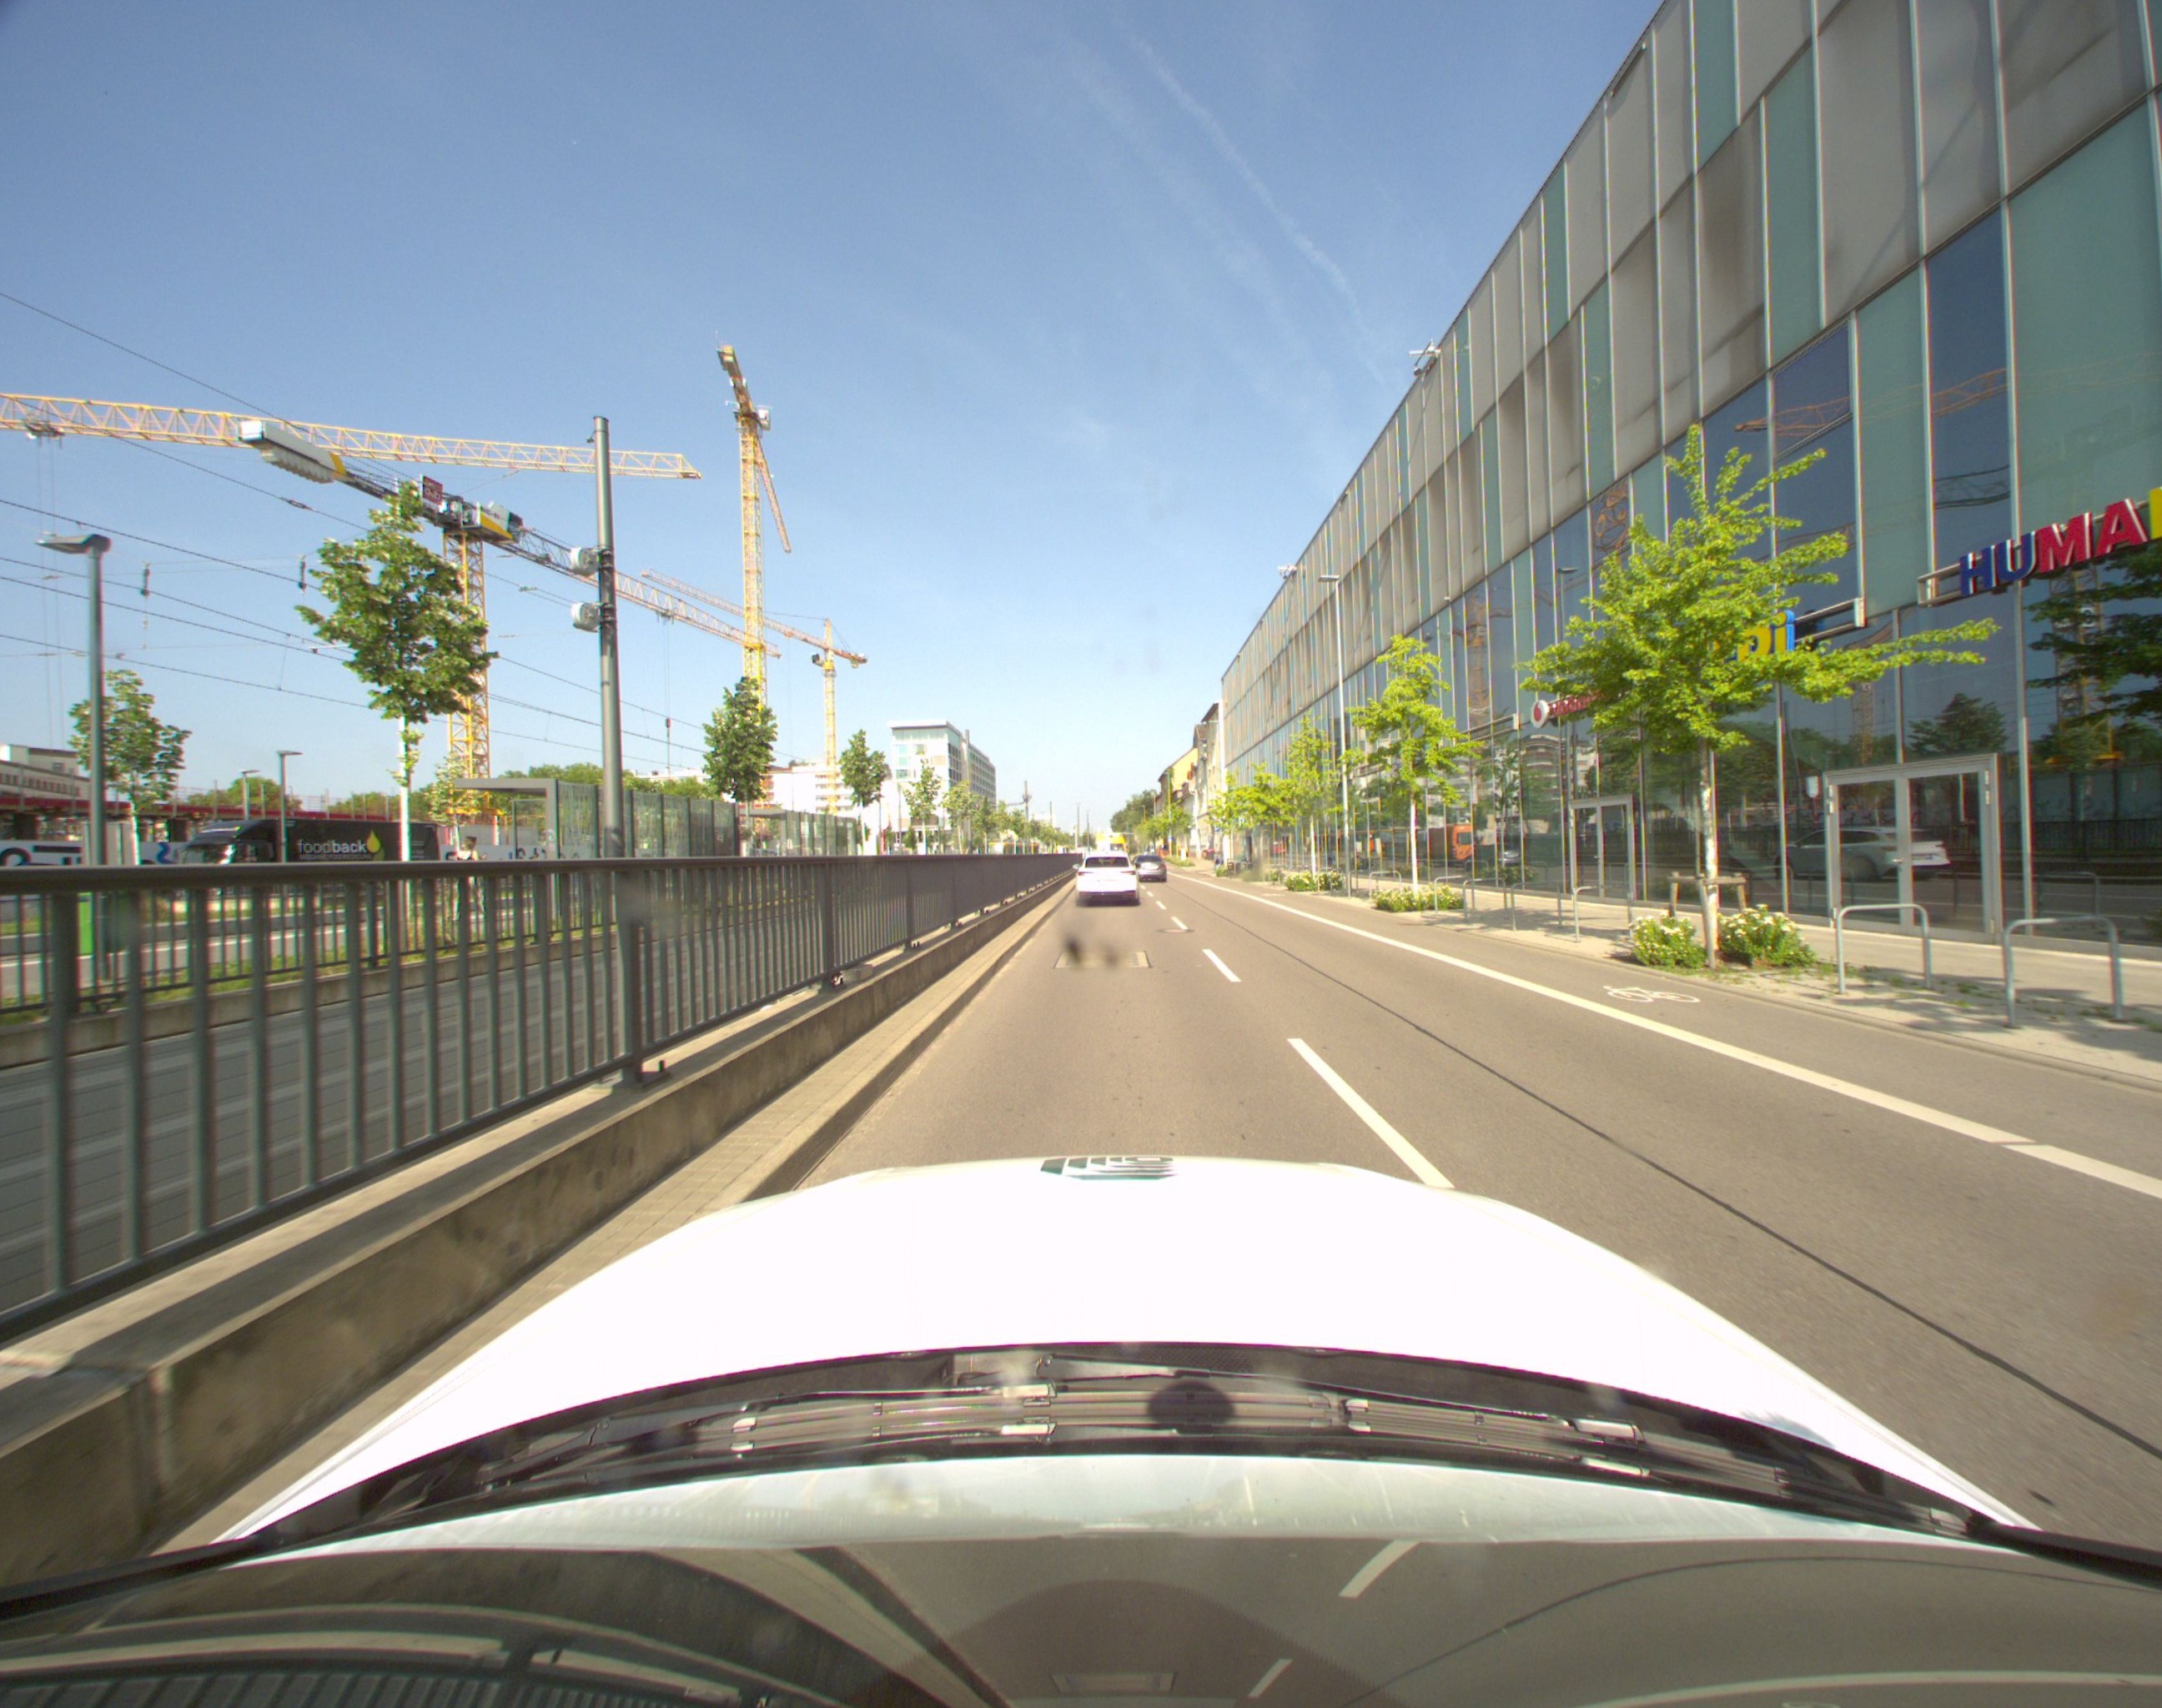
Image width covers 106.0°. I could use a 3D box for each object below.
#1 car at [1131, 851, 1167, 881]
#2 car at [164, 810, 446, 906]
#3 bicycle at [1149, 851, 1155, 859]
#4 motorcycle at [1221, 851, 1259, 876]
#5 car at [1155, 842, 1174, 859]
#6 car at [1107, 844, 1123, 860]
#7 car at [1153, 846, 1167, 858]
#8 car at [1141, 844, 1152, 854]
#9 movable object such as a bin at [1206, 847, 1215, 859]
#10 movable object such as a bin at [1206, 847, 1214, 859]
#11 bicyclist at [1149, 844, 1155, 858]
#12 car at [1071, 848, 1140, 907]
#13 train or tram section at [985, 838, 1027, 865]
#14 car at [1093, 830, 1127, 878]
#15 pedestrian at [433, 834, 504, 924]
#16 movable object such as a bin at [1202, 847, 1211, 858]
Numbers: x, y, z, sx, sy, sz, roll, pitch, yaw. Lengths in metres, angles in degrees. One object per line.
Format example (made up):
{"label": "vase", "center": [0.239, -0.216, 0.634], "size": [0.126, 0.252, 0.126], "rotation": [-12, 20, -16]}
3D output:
{"label": "car", "center": [3.512, 0.586, 42.708], "size": [1.753, 1.436, 4.118], "rotation": [0, 1, 2]}
{"label": "car", "center": [-32.528, 0.133, 34.980], "size": [3.043, 3.512, 9.237], "rotation": [-1, 0, 2]}
{"label": "bicycle", "center": [7.845, 0.096, 90.120], "size": [0.652, 0.938, 1.519], "rotation": [-1, 0, 4]}
{"label": "motorcycle", "center": [9.254, 0.543, 47.399], "size": [1.968, 1.349, 0.865], "rotation": [-2, 0, -9]}
{"label": "car", "center": [10.405, -0.516, 101.785], "size": [2.055, 2.013, 4.590], "rotation": [-2, 1, 2]}
{"label": "car", "center": [4.271, -0.283, 102.381], "size": [1.986, 2.013, 4.001], "rotation": [0, 0, 1]}
{"label": "car", "center": [11.133, -0.266, 115.281], "size": [1.667, 1.483, 4.314], "rotation": [-3, 0, 2]}
{"label": "car", "center": [11.683, -0.886, 145.333], "size": [1.806, 1.812, 3.837], "rotation": [-1, 1, 2]}
{"label": "movable object such as a bin", "center": [13.323, -0.088, 83.751], "size": [0.778, 1.172, 0.808], "rotation": [-1, 2, 1]}
{"label": "movable object such as a bin", "center": [13.457, -0.123, 84.719], "size": [0.702, 1.152, 0.671], "rotation": [-1, 2, 1]}
{"label": "bicyclist", "center": [7.843, -0.317, 90.115], "size": [0.636, 1.577, 0.772], "rotation": [-1, 0, 4]}
{"label": "car", "center": [0.764, 0.629, 24.531], "size": [1.862, 1.574, 4.003], "rotation": [-2, 0, 2]}
{"label": "train or tram section", "center": [-10.925, -0.329, 120.377], "size": [2.892, 3.676, 18.163], "rotation": [0, 0, 5]}
{"label": "car", "center": [1.893, -0.083, 52.341], "size": [2.012, 2.795, 5.405], "rotation": [-2, 2, 2]}
{"label": "pedestrian", "center": [-11.369, 0.453, 15.136], "size": [0.733, 1.619, 0.711], "rotation": [-1, 0, 1]}
{"label": "movable object such as a bin", "center": [13.433, -0.186, 87.173], "size": [0.674, 1.152, 0.610], "rotation": [-3, 3, -42]}
